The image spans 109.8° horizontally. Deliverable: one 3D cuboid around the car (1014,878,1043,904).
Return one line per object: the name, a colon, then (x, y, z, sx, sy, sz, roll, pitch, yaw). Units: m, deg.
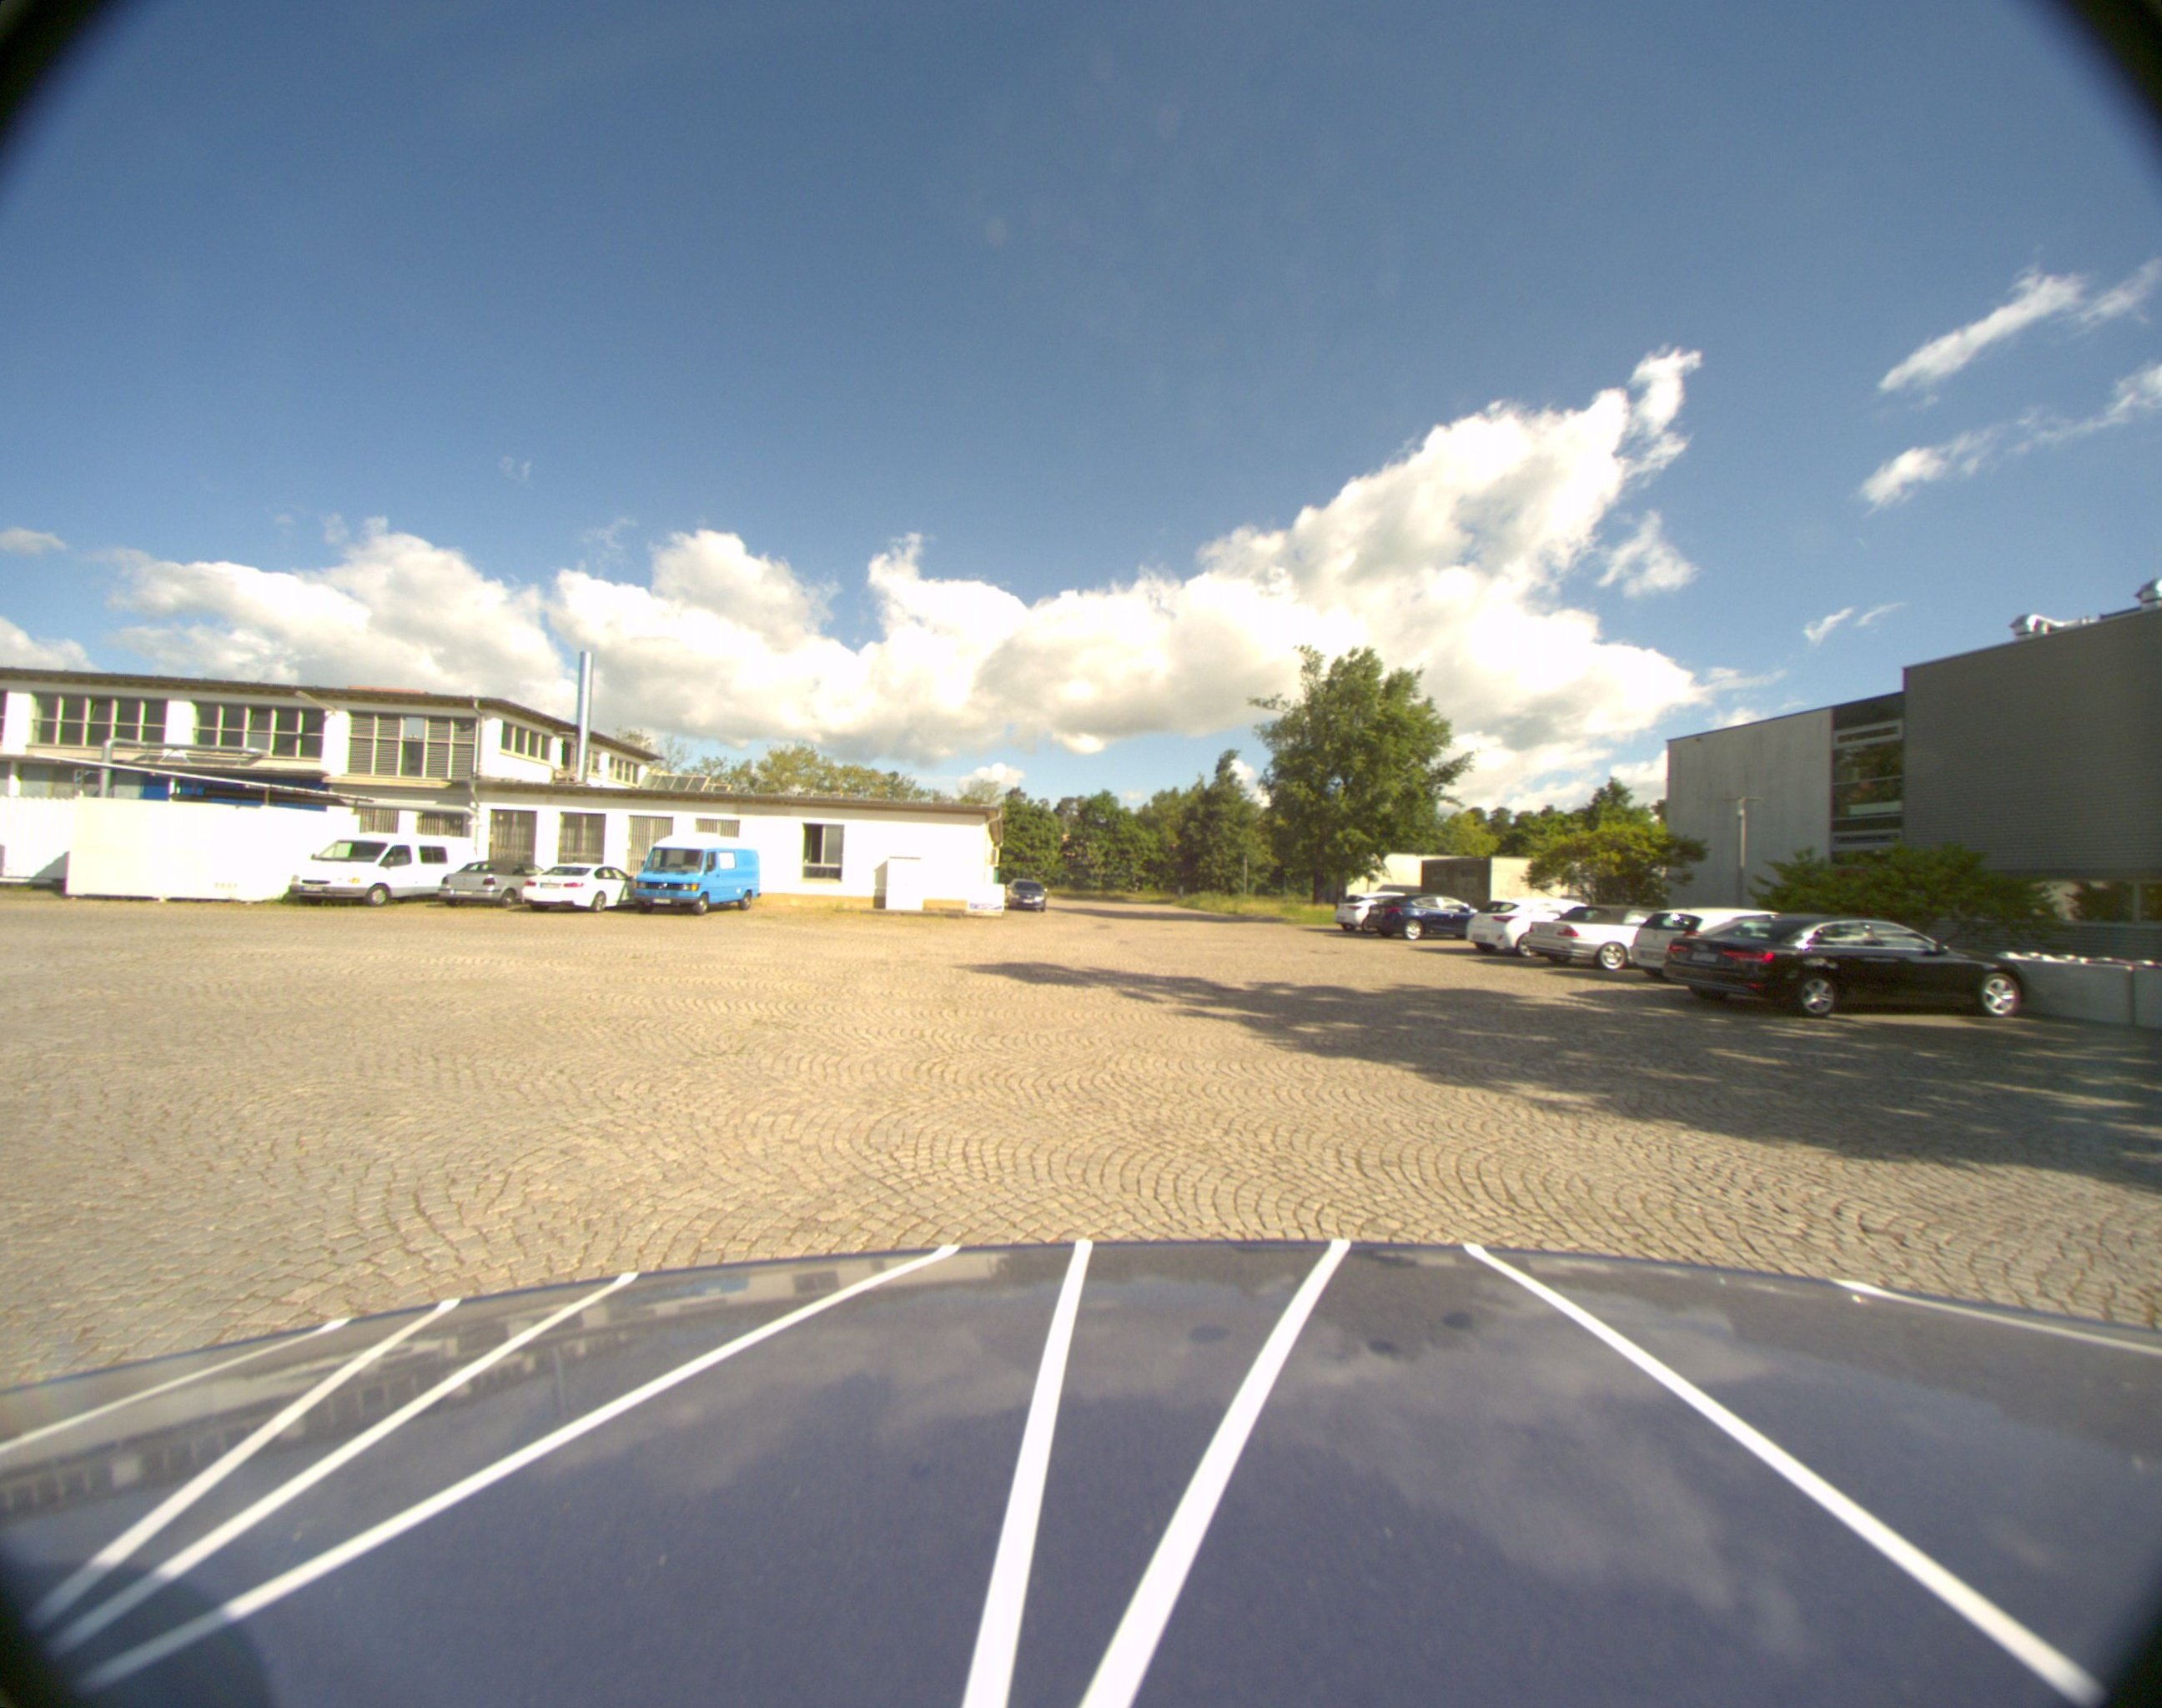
car: (-3.265, 2.241, 46.908, 1.692, 1.426, 3.986, 3, -2, -5)

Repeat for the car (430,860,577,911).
car: (-17.750, 0.964, 23.604, 1.691, 1.390, 3.831, 3, -2, -3)

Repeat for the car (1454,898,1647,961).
car: (11.873, 1.893, 19.368, 3.924, 1.437, 1.755, 1, -2, -5)

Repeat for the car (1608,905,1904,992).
car: (12.671, 1.756, 14.452, 4.149, 1.451, 1.692, 1, -2, 0)

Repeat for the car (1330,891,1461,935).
car: (11.163, 2.086, 27.130, 3.924, 1.426, 1.795, 1, -2, -5)

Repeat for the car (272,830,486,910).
car: (-20.653, 0.477, 22.733, 2.009, 2.069, 4.804, 2, -1, -2)

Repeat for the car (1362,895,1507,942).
car: (11.373, 2.056, 24.578, 3.924, 1.409, 1.692, 1, -2, -5)

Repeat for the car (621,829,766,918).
car: (-12.195, 0.610, 24.405, 2.088, 2.468, 5.238, 2, -1, -2)

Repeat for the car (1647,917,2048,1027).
car: (11.543, 1.729, 11.600, 4.733, 1.414, 1.756, 1, -2, -7)

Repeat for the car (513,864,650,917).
car: (-14.894, 1.049, 22.917, 1.737, 1.397, 3.738, 2, 0, -3)

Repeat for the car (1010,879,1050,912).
car: (-2.495, 1.974, 37.023, 1.769, 1.426, 3.991, 3, -2, -5)

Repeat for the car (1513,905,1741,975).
car: (11.963, 1.871, 16.795, 3.924, 1.363, 1.728, 1, -2, -5)
